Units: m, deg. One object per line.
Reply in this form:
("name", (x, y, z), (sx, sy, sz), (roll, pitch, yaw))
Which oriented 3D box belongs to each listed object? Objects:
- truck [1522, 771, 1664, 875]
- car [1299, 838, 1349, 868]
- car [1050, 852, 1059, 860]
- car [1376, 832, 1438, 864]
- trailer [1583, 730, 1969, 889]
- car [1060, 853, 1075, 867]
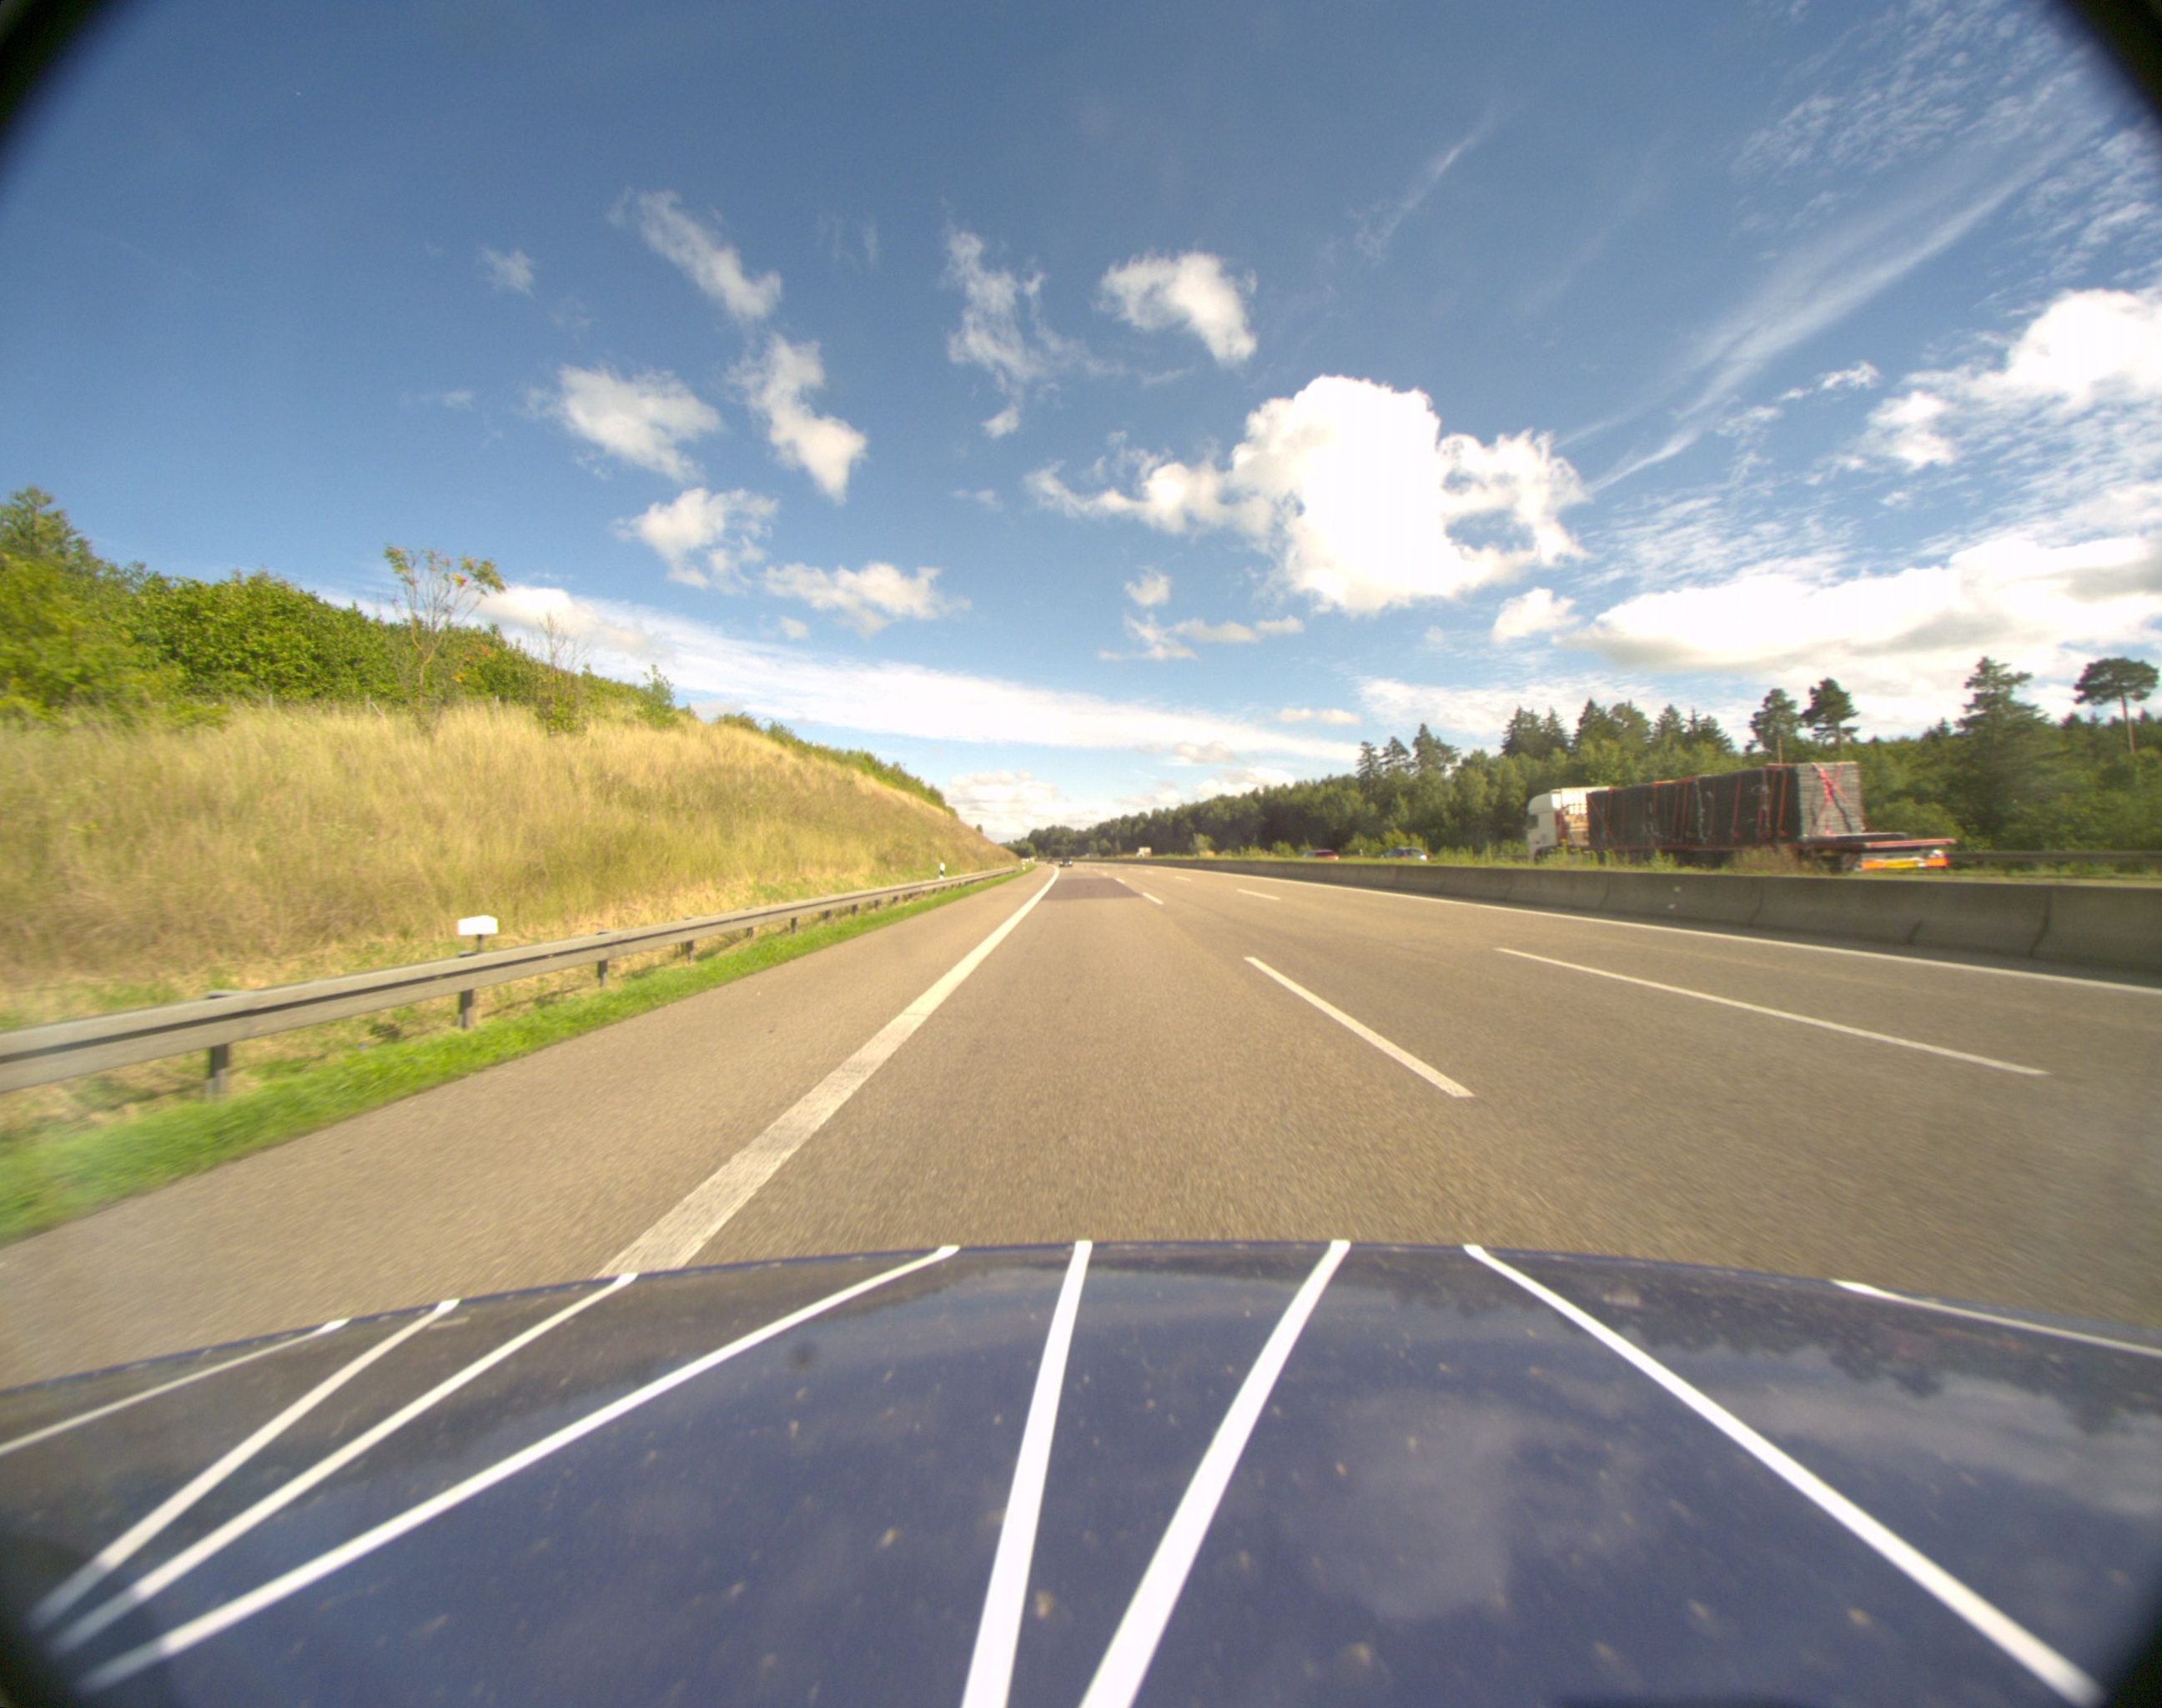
("truck", (23.483, -1.324, 35.214), (2.809, 4.366, 5.463), (-2, 1, 0))
("car", (15.839, -0.075, 49.680), (1.998, 1.792, 4.000), (-2, 0, 0))
("car", (-7.153, 0.617, 205.001), (2.000, 2.002, 3.997), (-3, 1, -6))
("car", (19.462, -0.351, 45.565), (1.998, 1.792, 4.000), (-2, 0, 0))
("trailer", (23.510, -1.287, 27.359), (2.809, 4.366, 12.049), (-2, 0, 0))
("car", (-1.960, 0.897, 110.751), (1.999, 1.827, 3.999), (-2, 1, -2))
